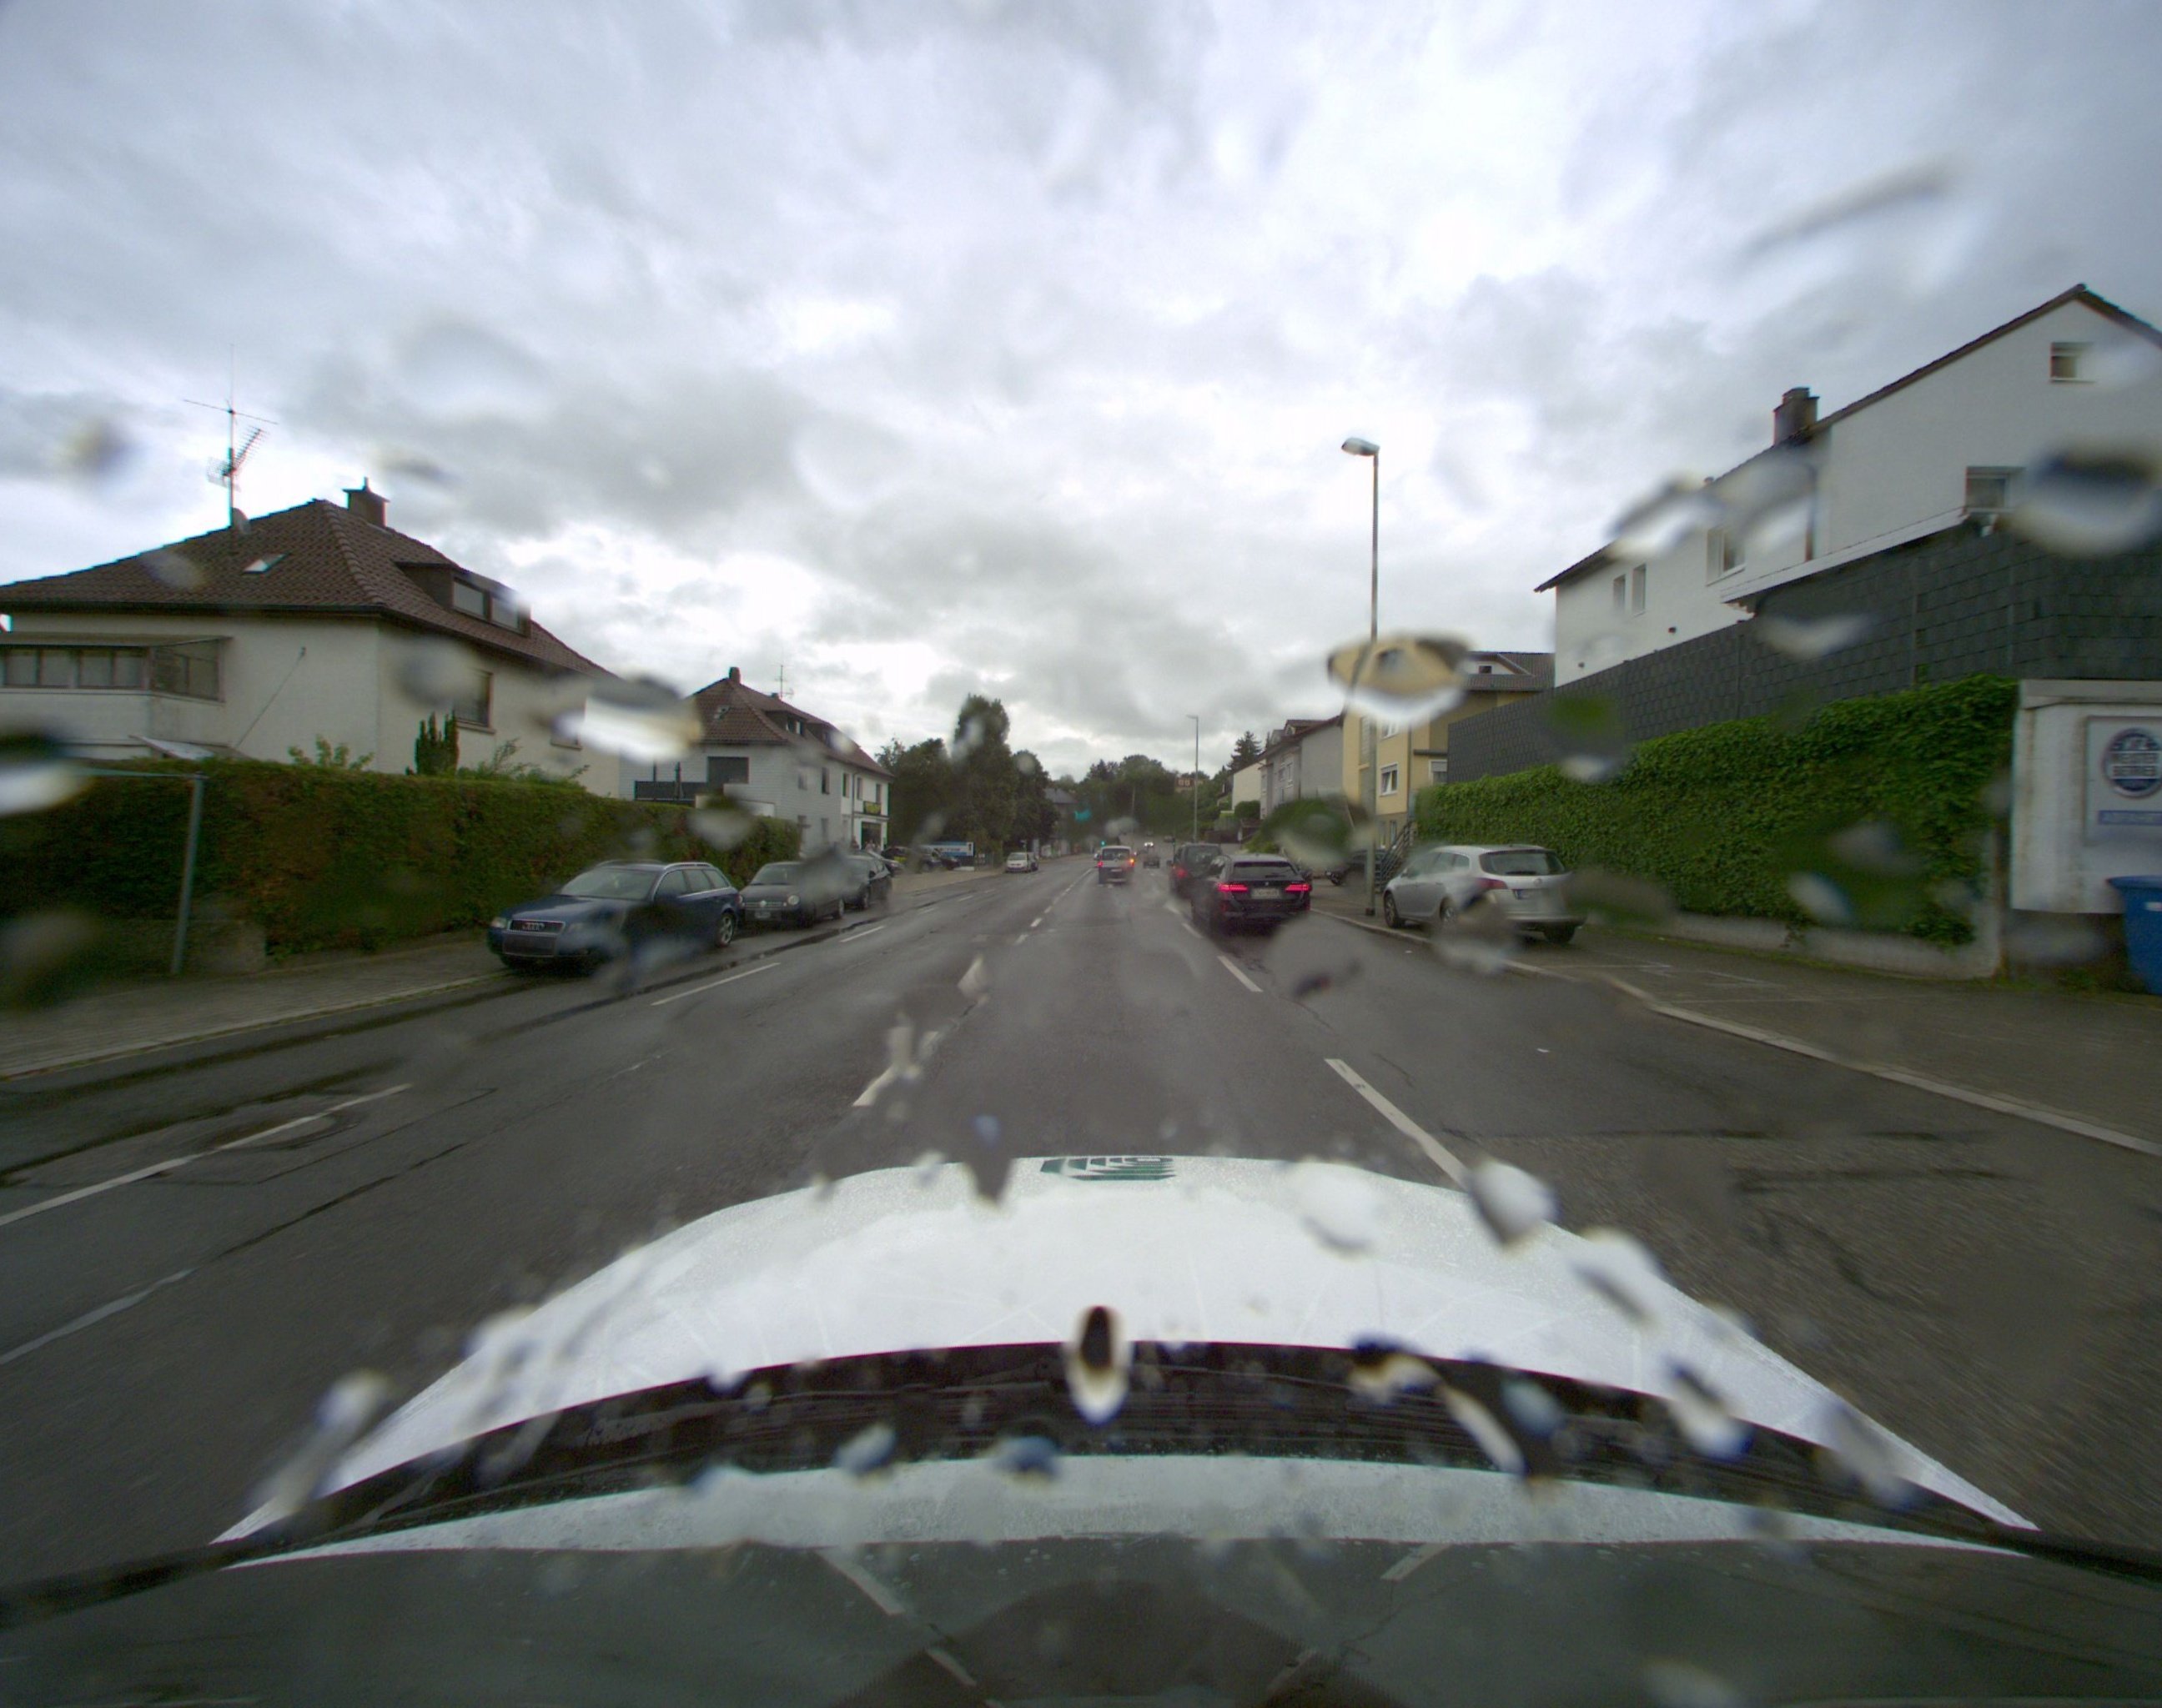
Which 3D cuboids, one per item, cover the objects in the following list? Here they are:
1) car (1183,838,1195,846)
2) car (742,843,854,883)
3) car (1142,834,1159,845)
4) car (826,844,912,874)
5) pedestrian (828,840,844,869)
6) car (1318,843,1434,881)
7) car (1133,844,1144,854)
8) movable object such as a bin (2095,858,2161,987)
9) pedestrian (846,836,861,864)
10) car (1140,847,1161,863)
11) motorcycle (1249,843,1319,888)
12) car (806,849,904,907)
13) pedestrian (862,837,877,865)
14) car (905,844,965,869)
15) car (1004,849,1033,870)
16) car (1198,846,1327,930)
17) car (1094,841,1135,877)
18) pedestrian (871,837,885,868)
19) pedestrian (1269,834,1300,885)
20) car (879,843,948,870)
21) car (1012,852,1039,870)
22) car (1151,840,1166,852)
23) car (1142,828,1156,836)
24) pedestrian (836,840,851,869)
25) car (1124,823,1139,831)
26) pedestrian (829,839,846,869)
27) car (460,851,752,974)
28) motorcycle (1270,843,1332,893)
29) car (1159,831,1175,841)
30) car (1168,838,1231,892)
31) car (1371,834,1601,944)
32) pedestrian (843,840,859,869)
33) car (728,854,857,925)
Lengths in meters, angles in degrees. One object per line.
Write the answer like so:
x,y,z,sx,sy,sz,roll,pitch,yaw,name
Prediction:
21.465,-2.364,161.777,1.986,1.585,4.002,0,0,2,car
-11.729,0.366,33.950,3.972,1.516,1.856,1,0,1,car
14.970,-3.121,176.736,2.520,2.013,5.595,0,4,-8,car
-11.405,0.263,43.941,4.057,1.516,1.856,1,0,1,car
-14.206,0.014,47.212,0.597,1.665,0.651,3,0,7,pedestrian
11.756,0.310,32.593,3.974,1.433,1.869,-1,0,0,car
10.865,-0.953,153.639,1.986,1.772,4.002,-1,0,2,car
9.744,0.602,7.242,0.593,1.105,0.667,-3,0,1,movable object such as a bin
-14.132,-0.258,50.559,0.597,1.665,0.651,3,0,7,pedestrian
7.258,0.068,85.244,1.986,1.578,4.002,-1,0,2,car
6.612,0.371,26.554,2.078,1.450,0.758,0,0,-3,motorcycle
-6.474,0.634,23.780,1.752,1.532,4.206,0,0,-1,car
-13.047,-0.190,50.308,0.597,1.665,0.652,3,0,10,pedestrian
-10.875,0.190,60.891,4.058,1.516,1.856,4,0,1,car
-4.967,0.409,65.054,1.877,1.585,4.002,0,0,2,car
3.520,0.606,16.517,1.985,1.484,4.004,0,0,4,car
1.729,0.241,41.547,1.986,1.737,4.002,0,0,2,car
-12.375,-0.095,49.640,0.599,1.790,0.649,3,0,-4,pedestrian
6.638,0.167,26.565,0.828,1.649,0.622,0,0,-3,pedestrian
-11.085,0.155,53.957,4.058,1.516,1.856,4,0,1,car
-4.863,0.587,71.766,1.877,1.585,4.002,0,0,2,car
14.254,-1.453,149.686,2.511,2.013,5.614,1,3,3,car
17.775,-5.737,212.953,2.522,2.013,5.590,0,3,-10,car
-14.182,0.013,48.630,0.597,1.665,0.651,3,0,7,pedestrian
14.179,-7.600,227.377,2.526,2.012,5.582,0,5,-15,car
-13.835,-0.019,46.272,0.597,1.665,0.651,3,0,7,pedestrian
-6.832,0.728,12.367,1.750,1.532,4.289,0,0,2,car
6.754,0.402,24.973,2.101,1.450,0.812,-2,1,-42,motorcycle
20.289,-4.269,192.443,2.519,2.013,5.596,0,3,-7,car
4.143,0.362,29.070,1.831,1.767,4.002,0,0,2,car
6.404,0.482,13.531,1.694,1.510,4.536,0,0,2,car
-13.472,0.022,47.740,0.597,1.665,0.651,3,0,7,pedestrian
-6.365,0.720,18.423,1.547,1.431,4.012,0,0,-1,car
